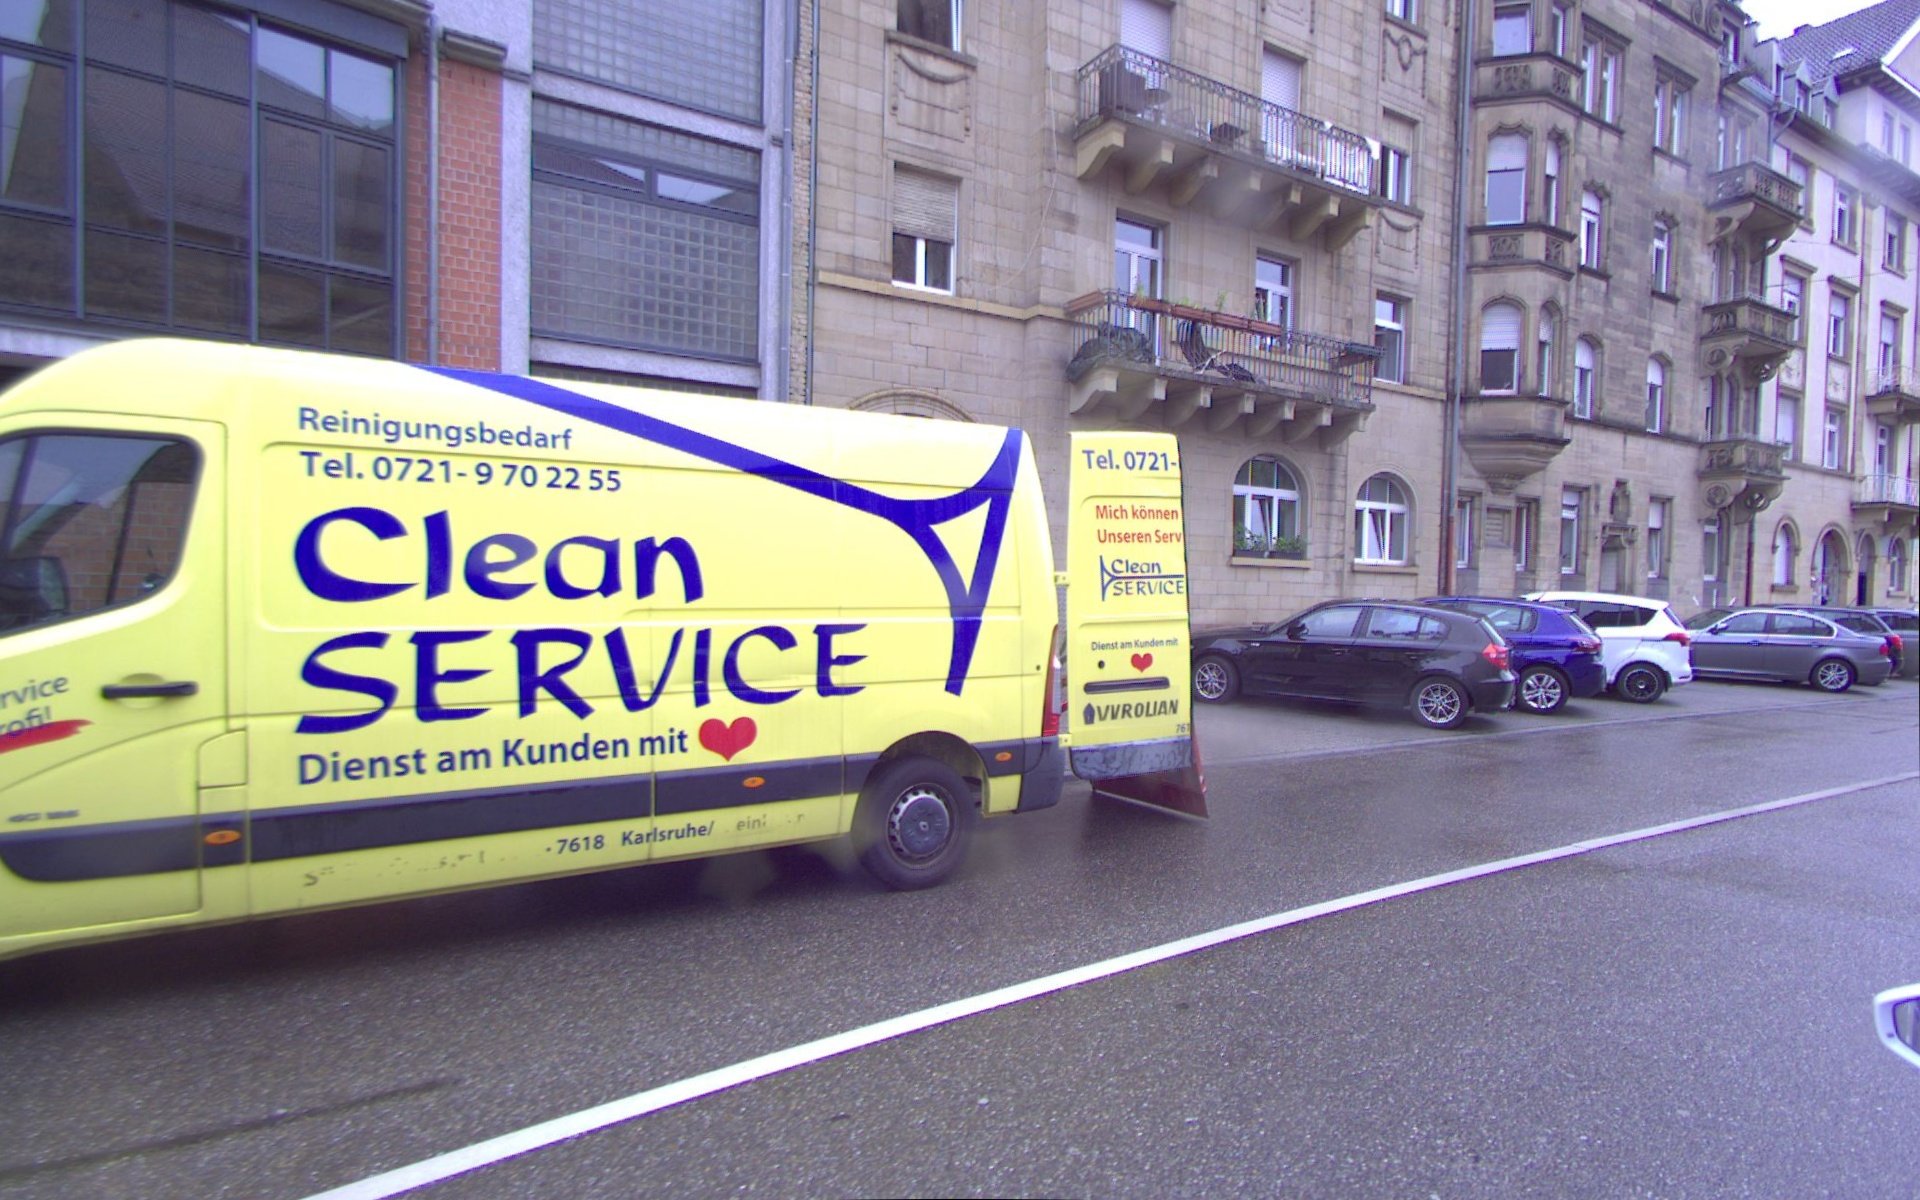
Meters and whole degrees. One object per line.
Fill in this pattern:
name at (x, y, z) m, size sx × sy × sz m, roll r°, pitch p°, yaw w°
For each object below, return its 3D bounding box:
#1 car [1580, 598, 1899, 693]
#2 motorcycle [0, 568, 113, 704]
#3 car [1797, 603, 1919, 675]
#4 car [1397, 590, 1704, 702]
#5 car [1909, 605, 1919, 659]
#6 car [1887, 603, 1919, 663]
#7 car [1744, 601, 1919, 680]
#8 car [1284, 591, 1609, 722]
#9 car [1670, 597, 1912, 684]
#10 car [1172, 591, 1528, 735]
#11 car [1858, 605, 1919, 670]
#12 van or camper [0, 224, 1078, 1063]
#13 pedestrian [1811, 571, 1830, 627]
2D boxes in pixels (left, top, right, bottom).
car at (14.637, 0.798, 19.175) m, size 4.458 × 1.566 × 1.689 m, roll 1°, pitch 1°, yaw 18°
motorcycle at (-8.985, 0.309, 9.116) m, size 1.968 × 1.197 × 0.524 m, roll 1°, pitch 2°, yaw -11°
car at (22.226, 0.911, 23.729) m, size 3.337 × 1.579 × 1.705 m, roll 1°, pitch 1°, yaw 22°
car at (9.264, 0.670, 16.152) m, size 3.964 × 1.576 × 1.798 m, roll 1°, pitch 0°, yaw 21°
car at (29.691, 0.974, 28.664) m, size 3.337 × 1.579 × 1.705 m, roll 1°, pitch 1°, yaw 22°
car at (27.415, 0.925, 26.929) m, size 3.337 × 1.579 × 1.705 m, roll 1°, pitch 1°, yaw 22°
car at (19.715, 0.863, 22.247) m, size 3.337 × 1.579 × 1.652 m, roll 1°, pitch 1°, yaw 22°
car at (6.916, 0.707, 14.442) m, size 3.973 × 1.595 × 1.794 m, roll 1°, pitch 1°, yaw 32°
car at (17.036, 0.778, 20.787) m, size 3.485 × 1.620 × 1.605 m, roll 1°, pitch 1°, yaw 22°
car at (4.923, 0.689, 12.816) m, size 3.973 × 1.532 × 1.794 m, roll 1°, pitch 0°, yaw 32°
car at (25.082, 0.972, 25.233) m, size 3.337 × 1.579 × 1.705 m, roll 1°, pitch 1°, yaw 22°
van or camper at (-2.419, 0.149, 4.838) m, size 5.875 × 2.646 × 2.184 m, roll 1°, pitch 0°, yaw -32°
pedestrian at (28.551, -0.020, 33.343) m, size 0.343 × 1.847 × 0.364 m, roll 1°, pitch 0°, yaw -31°
